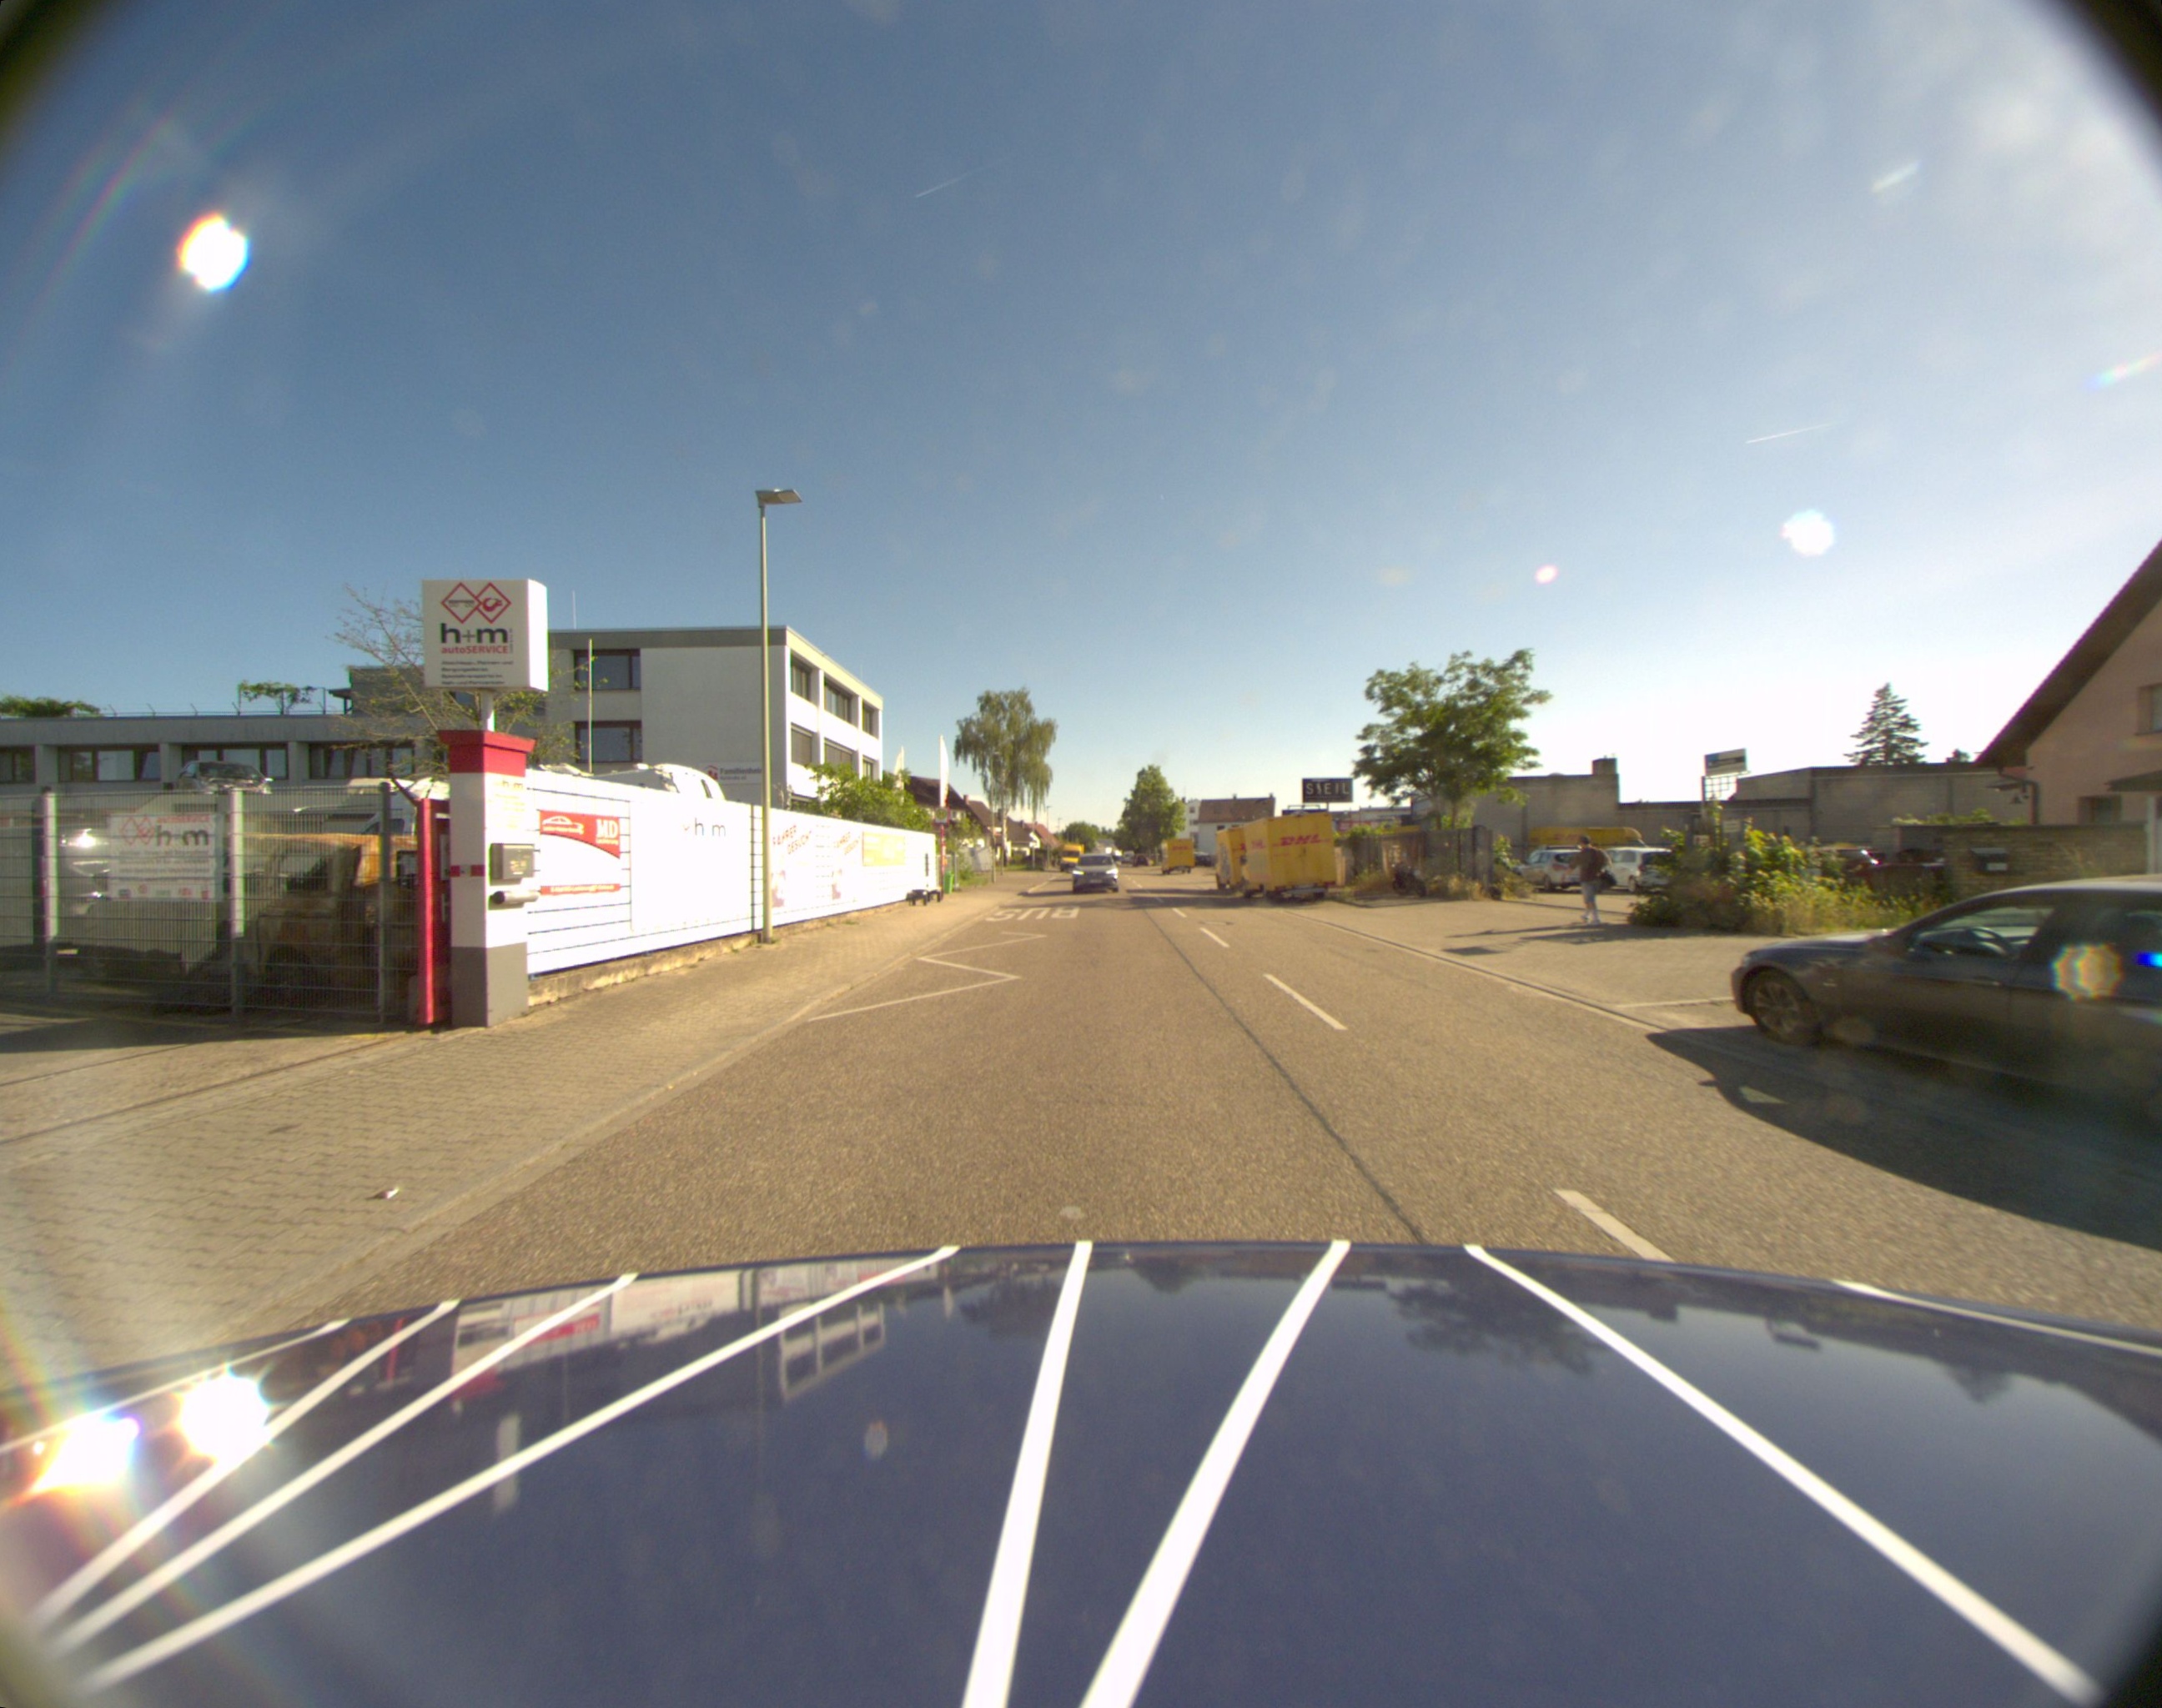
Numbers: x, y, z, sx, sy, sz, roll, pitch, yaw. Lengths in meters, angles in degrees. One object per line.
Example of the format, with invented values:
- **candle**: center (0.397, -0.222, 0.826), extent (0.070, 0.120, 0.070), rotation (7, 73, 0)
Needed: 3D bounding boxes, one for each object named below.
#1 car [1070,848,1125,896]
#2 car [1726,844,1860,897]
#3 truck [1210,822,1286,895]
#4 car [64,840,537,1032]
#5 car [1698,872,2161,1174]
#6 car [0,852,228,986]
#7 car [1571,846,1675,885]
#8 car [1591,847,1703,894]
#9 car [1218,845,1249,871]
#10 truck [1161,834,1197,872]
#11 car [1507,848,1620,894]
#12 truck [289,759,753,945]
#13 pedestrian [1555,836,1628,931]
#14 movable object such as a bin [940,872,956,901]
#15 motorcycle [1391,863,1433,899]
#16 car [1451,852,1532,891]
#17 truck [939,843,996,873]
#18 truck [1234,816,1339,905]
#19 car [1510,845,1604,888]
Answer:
- **car**: center (0.649, 0.662, 30.743), extent (1.998, 1.750, 5.015), rotation (-1, 0, 1)
- **car**: center (24.284, 0.510, 26.121), extent (1.647, 1.675, 4.004), rotation (0, 0, 15)
- **truck**: center (7.210, 0.173, 33.522), extent (2.145, 2.857, 5.750), rotation (-2, 1, 2)
- **car**: center (-8.827, 0.752, 8.701), extent (4.296, 1.732, 1.979), rotation (1, 1, 16)
- **car**: center (6.625, 0.936, 4.635), extent (1.780, 1.439, 4.923), rotation (-3, 0, 2)
- **car**: center (-14.470, 0.787, 10.282), extent (4.317, 1.565, 1.918), rotation (-1, 1, 11)
- **car**: center (22.701, 0.439, 32.017), extent (1.975, 1.435, 4.002), rotation (1, 1, 10)
- **car**: center (19.769, 0.530, 26.739), extent (1.648, 1.521, 4.004), rotation (0, 0, 13)
- **car**: center (12.913, 0.293, 64.590), extent (1.998, 2.002, 4.000), rotation (-2, 1, 3)
- **truck**: center (8.251, -0.097, 64.543), extent (2.286, 3.012, 5.910), rotation (-2, 1, 2)
- **car**: center (17.106, 0.537, 27.179), extent (1.975, 1.435, 4.002), rotation (1, 1, 10)
- **truck**: center (-9.177, -0.011, 12.852), extent (6.237, 2.800, 2.381), rotation (0, 1, 4)
- **pedestrian**: center (9.739, 0.551, 14.514), extent (0.820, 1.733, 0.751), rotation (-3, 1, -5)
- **movable object such as a bin**: center (-4.364, 1.065, 24.972), extent (0.383, 0.950, 0.567), rotation (0, 1, 4)
- **motorcycle**: center (10.499, 0.838, 24.174), extent (0.537, 1.051, 2.070), rotation (-3, 0, 4)
- **car**: center (17.503, 0.704, 32.625), extent (1.851, 1.435, 4.002), rotation (1, 1, 10)
- **truck**: center (-9.558, 0.315, 64.002), extent (4.393, 2.451, 1.996), rotation (0, 1, -23)
- **truck**: center (7.021, 0.155, 26.682), extent (2.173, 2.698, 5.749), rotation (-2, 1, 2)
- **car**: center (20.086, 0.458, 32.295), extent (1.975, 1.630, 4.002), rotation (1, 2, 10)
